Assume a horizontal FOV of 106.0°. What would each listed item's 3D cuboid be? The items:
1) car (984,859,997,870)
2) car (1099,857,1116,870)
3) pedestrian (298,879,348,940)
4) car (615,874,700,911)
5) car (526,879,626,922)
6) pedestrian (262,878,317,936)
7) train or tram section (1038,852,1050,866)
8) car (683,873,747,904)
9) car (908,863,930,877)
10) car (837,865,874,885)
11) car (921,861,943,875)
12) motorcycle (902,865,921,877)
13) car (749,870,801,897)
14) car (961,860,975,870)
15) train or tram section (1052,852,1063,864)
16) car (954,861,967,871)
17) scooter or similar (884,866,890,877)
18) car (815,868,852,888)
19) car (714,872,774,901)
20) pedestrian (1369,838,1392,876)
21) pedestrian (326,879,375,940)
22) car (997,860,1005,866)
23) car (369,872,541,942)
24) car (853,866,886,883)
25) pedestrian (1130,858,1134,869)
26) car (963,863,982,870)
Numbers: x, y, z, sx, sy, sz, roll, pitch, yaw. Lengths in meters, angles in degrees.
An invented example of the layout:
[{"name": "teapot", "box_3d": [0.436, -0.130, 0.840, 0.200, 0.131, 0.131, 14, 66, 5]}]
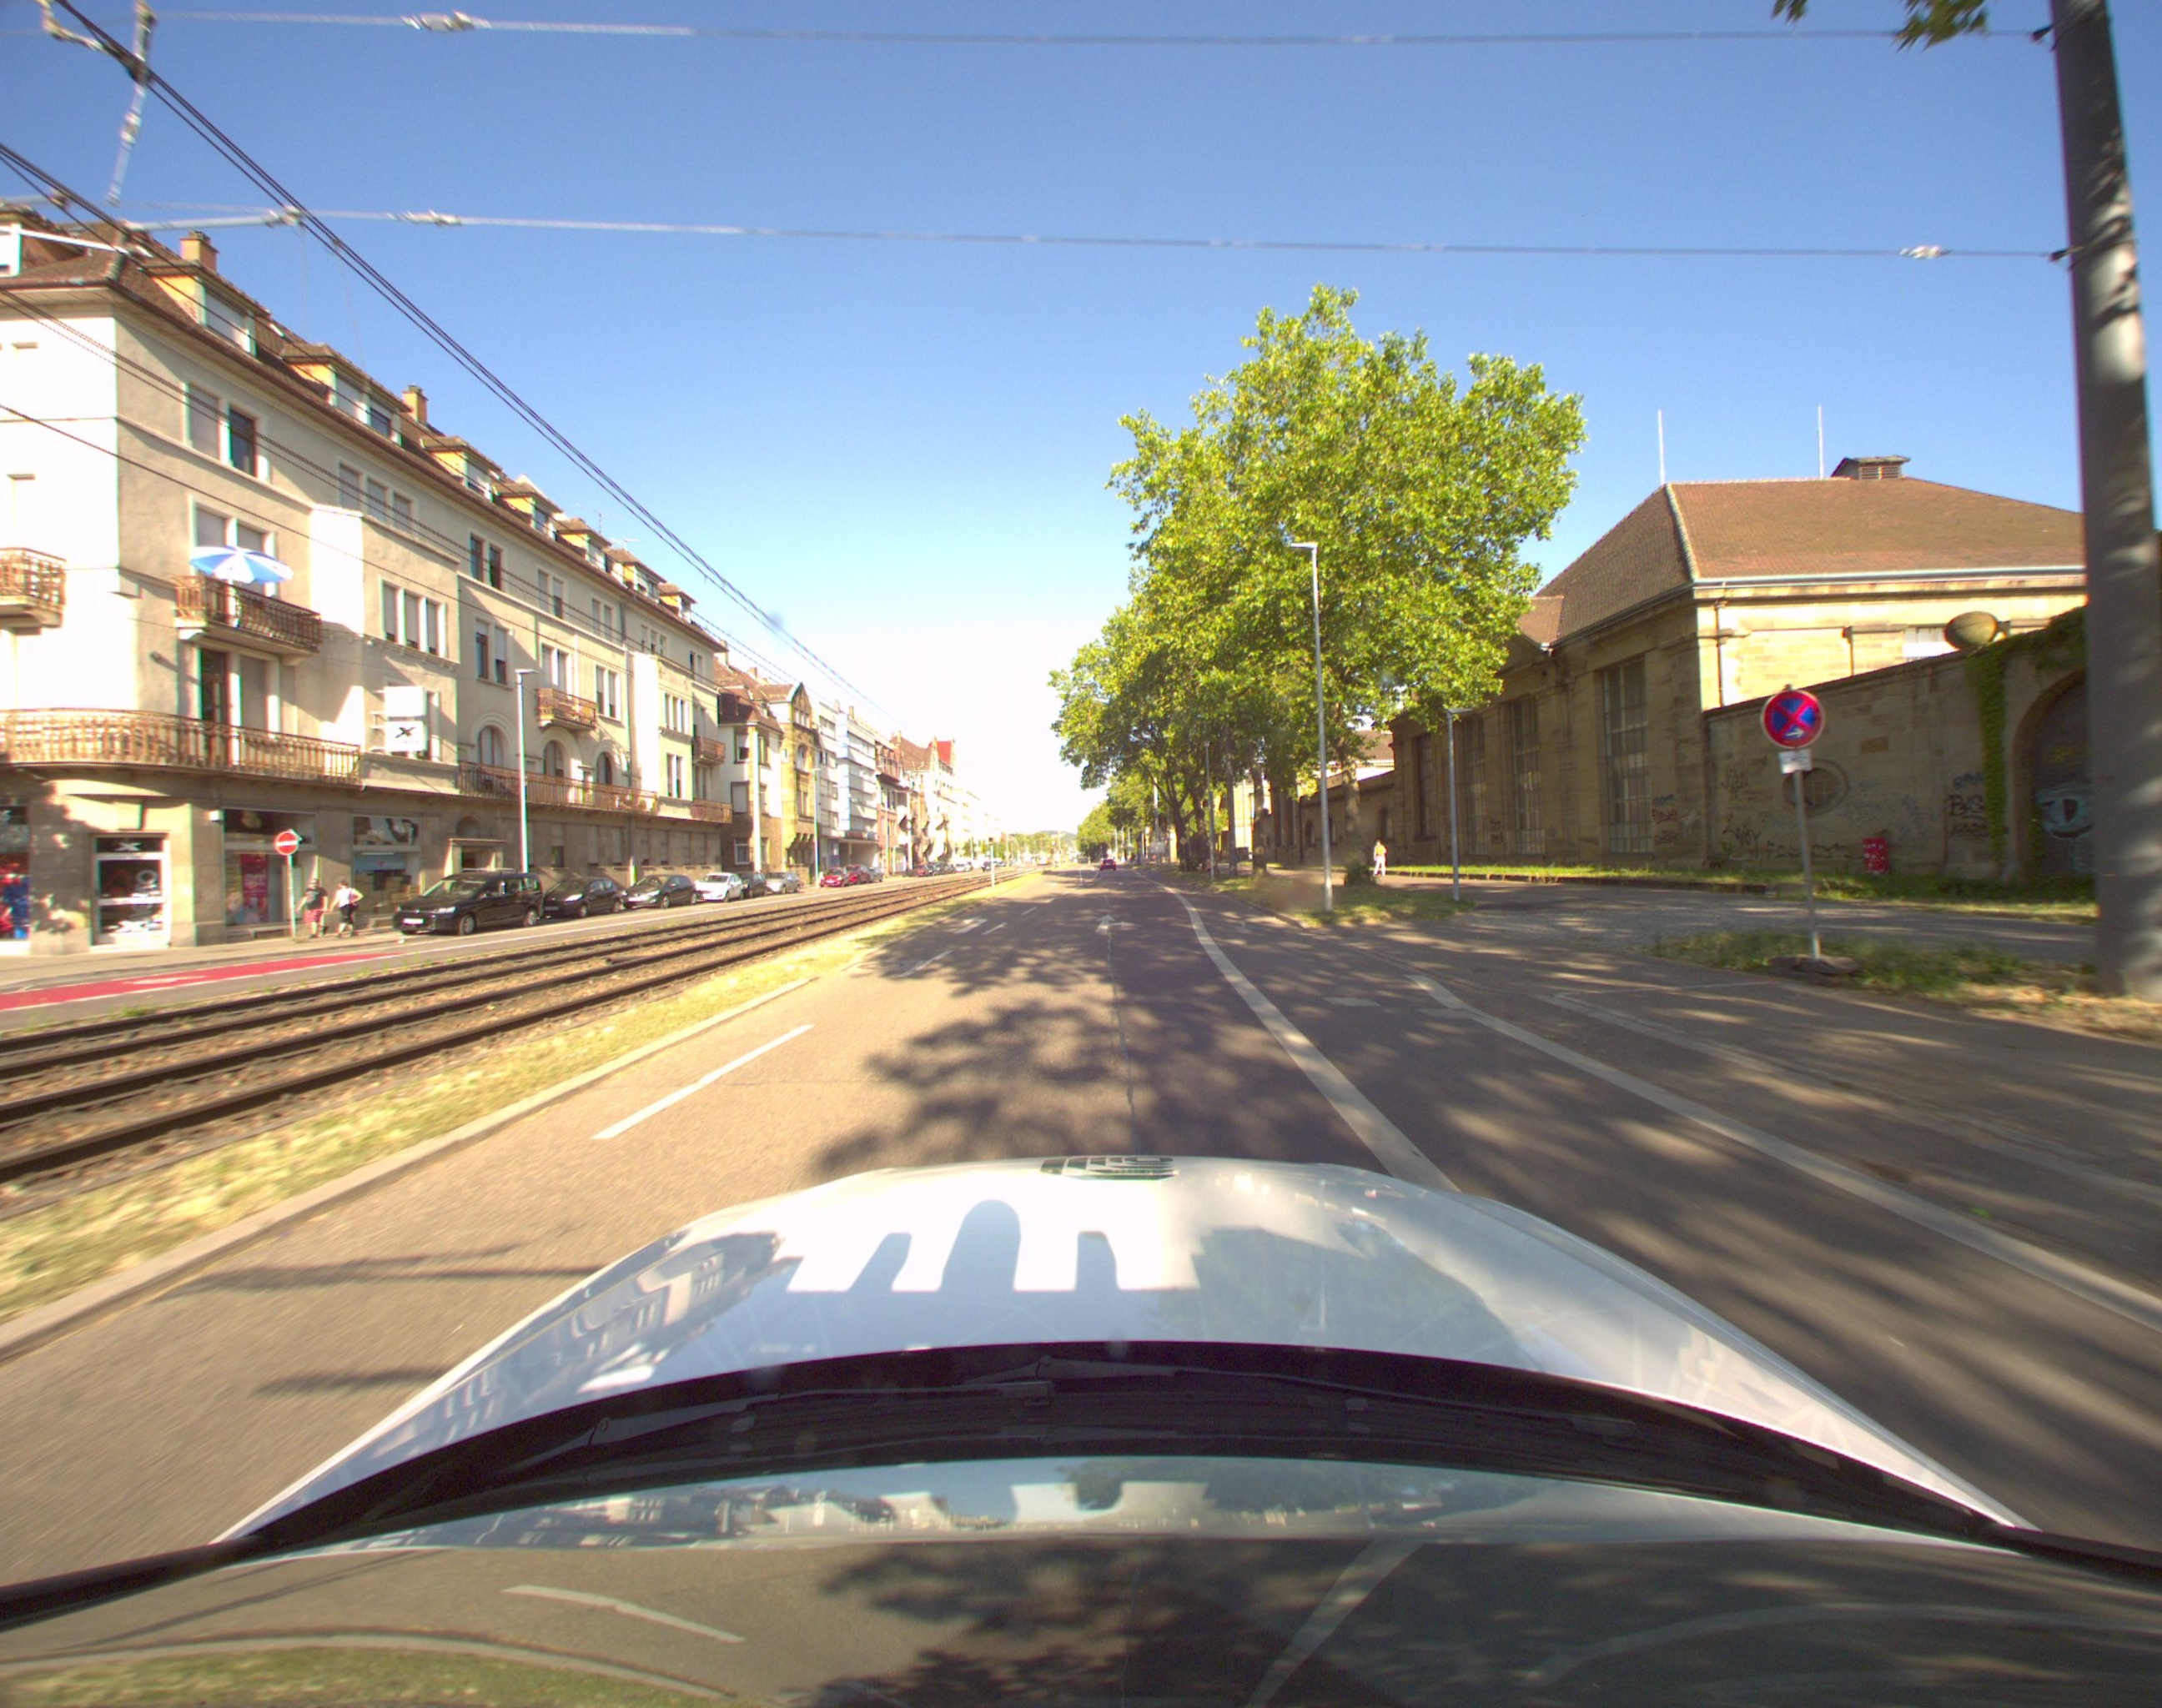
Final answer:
[{"name": "car", "box_3d": [-14.269, 1.638, 128.145, 1.631, 1.601, 4.155, -3, 0, -2]}, {"name": "car", "box_3d": [3.193, 1.144, 98.306, 1.828, 1.391, 4.157, -2, 0, -1]}, {"name": "pedestrian", "box_3d": [-21.700, 1.584, 23.331, 0.587, 1.697, 0.858, 0, -1, 2]}, {"name": "car", "box_3d": [-18.957, 1.693, 36.648, 1.630, 1.469, 4.157, 1, 0, -1]}, {"name": "car", "box_3d": [-19.086, 1.729, 30.948, 1.623, 1.391, 3.506, 1, 0, -1]}, {"name": "pedestrian", "box_3d": [-23.218, 1.544, 23.912, 0.637, 1.661, 0.955, 0, -1, 2]}, {"name": "train or tram section", "box_3d": [-9.801, 1.323, 217.119, 2.816, 3.451, 9.062, -2, 0, 0]}, {"name": "car", "box_3d": [-18.452, 1.715, 41.278, 1.632, 1.469, 3.978, -1, -1, -3]}, {"name": "car", "box_3d": [-19.048, 1.882, 96.004, 1.789, 1.460, 4.264, 1, 0, -1]}, {"name": "car", "box_3d": [-18.804, 1.756, 68.058, 1.827, 1.558, 4.353, -1, -1, 1]}, {"name": "car", "box_3d": [-19.039, 1.803, 104.484, 1.787, 1.754, 4.458, 1, 0, 3]}, {"name": "motorcycle", "box_3d": [-19.292, 1.909, 92.647, 2.072, 1.327, 0.836, 1, 0, -16]}, {"name": "car", "box_3d": [-18.992, 1.812, 50.752, 1.630, 1.469, 4.159, -1, 0, 0]}, {"name": "car", "box_3d": [-19.485, 1.869, 140.574, 1.789, 1.719, 4.182, 1, 0, -1]}, {"name": "train or tram section", "box_3d": [-7.164, 1.254, 248.779, 2.815, 3.451, 9.065, -2, 0, 1]}, {"name": "car", "box_3d": [-19.103, 1.893, 129.525, 1.791, 1.510, 3.993, 1, 0, -5]}, {"name": "scooter or similar", "box_3d": [-21.820, 1.982, 91.736, 0.390, 1.205, 1.200, 1, -1, 1]}, {"name": "car", "box_3d": [-18.975, 1.814, 62.581, 1.830, 1.391, 4.028, 1, -1, -5]}, {"name": "car", "box_3d": [-18.775, 1.764, 45.523, 1.630, 1.469, 4.157, 0, 0, -1]}, {"name": "pedestrian", "box_3d": [13.702, 0.142, 37.269, 0.606, 1.681, 0.635, -6, 0, -2]}, {"name": "pedestrian", "box_3d": [-20.966, 1.581, 23.386, 0.587, 1.697, 0.858, 0, -1, 2]}, {"name": "car", "box_3d": [-20.199, 2.273, 206.545, 1.790, 1.510, 3.996, -2, 0, -2]}, {"name": "car", "box_3d": [-18.757, 1.506, 24.707, 1.857, 1.786, 4.399, 0, 0, -1]}, {"name": "car", "box_3d": [-18.984, 1.836, 73.319, 1.828, 1.391, 4.680, -2, 0, -1]}, {"name": "pedestrian", "box_3d": [8.437, 1.558, 135.643, 0.584, 1.728, 0.652, 0, 0, 12]}, {"name": "car", "box_3d": [-24.341, 2.797, 183.076, 3.964, 1.510, 1.804, 0, -1, 8]}]
